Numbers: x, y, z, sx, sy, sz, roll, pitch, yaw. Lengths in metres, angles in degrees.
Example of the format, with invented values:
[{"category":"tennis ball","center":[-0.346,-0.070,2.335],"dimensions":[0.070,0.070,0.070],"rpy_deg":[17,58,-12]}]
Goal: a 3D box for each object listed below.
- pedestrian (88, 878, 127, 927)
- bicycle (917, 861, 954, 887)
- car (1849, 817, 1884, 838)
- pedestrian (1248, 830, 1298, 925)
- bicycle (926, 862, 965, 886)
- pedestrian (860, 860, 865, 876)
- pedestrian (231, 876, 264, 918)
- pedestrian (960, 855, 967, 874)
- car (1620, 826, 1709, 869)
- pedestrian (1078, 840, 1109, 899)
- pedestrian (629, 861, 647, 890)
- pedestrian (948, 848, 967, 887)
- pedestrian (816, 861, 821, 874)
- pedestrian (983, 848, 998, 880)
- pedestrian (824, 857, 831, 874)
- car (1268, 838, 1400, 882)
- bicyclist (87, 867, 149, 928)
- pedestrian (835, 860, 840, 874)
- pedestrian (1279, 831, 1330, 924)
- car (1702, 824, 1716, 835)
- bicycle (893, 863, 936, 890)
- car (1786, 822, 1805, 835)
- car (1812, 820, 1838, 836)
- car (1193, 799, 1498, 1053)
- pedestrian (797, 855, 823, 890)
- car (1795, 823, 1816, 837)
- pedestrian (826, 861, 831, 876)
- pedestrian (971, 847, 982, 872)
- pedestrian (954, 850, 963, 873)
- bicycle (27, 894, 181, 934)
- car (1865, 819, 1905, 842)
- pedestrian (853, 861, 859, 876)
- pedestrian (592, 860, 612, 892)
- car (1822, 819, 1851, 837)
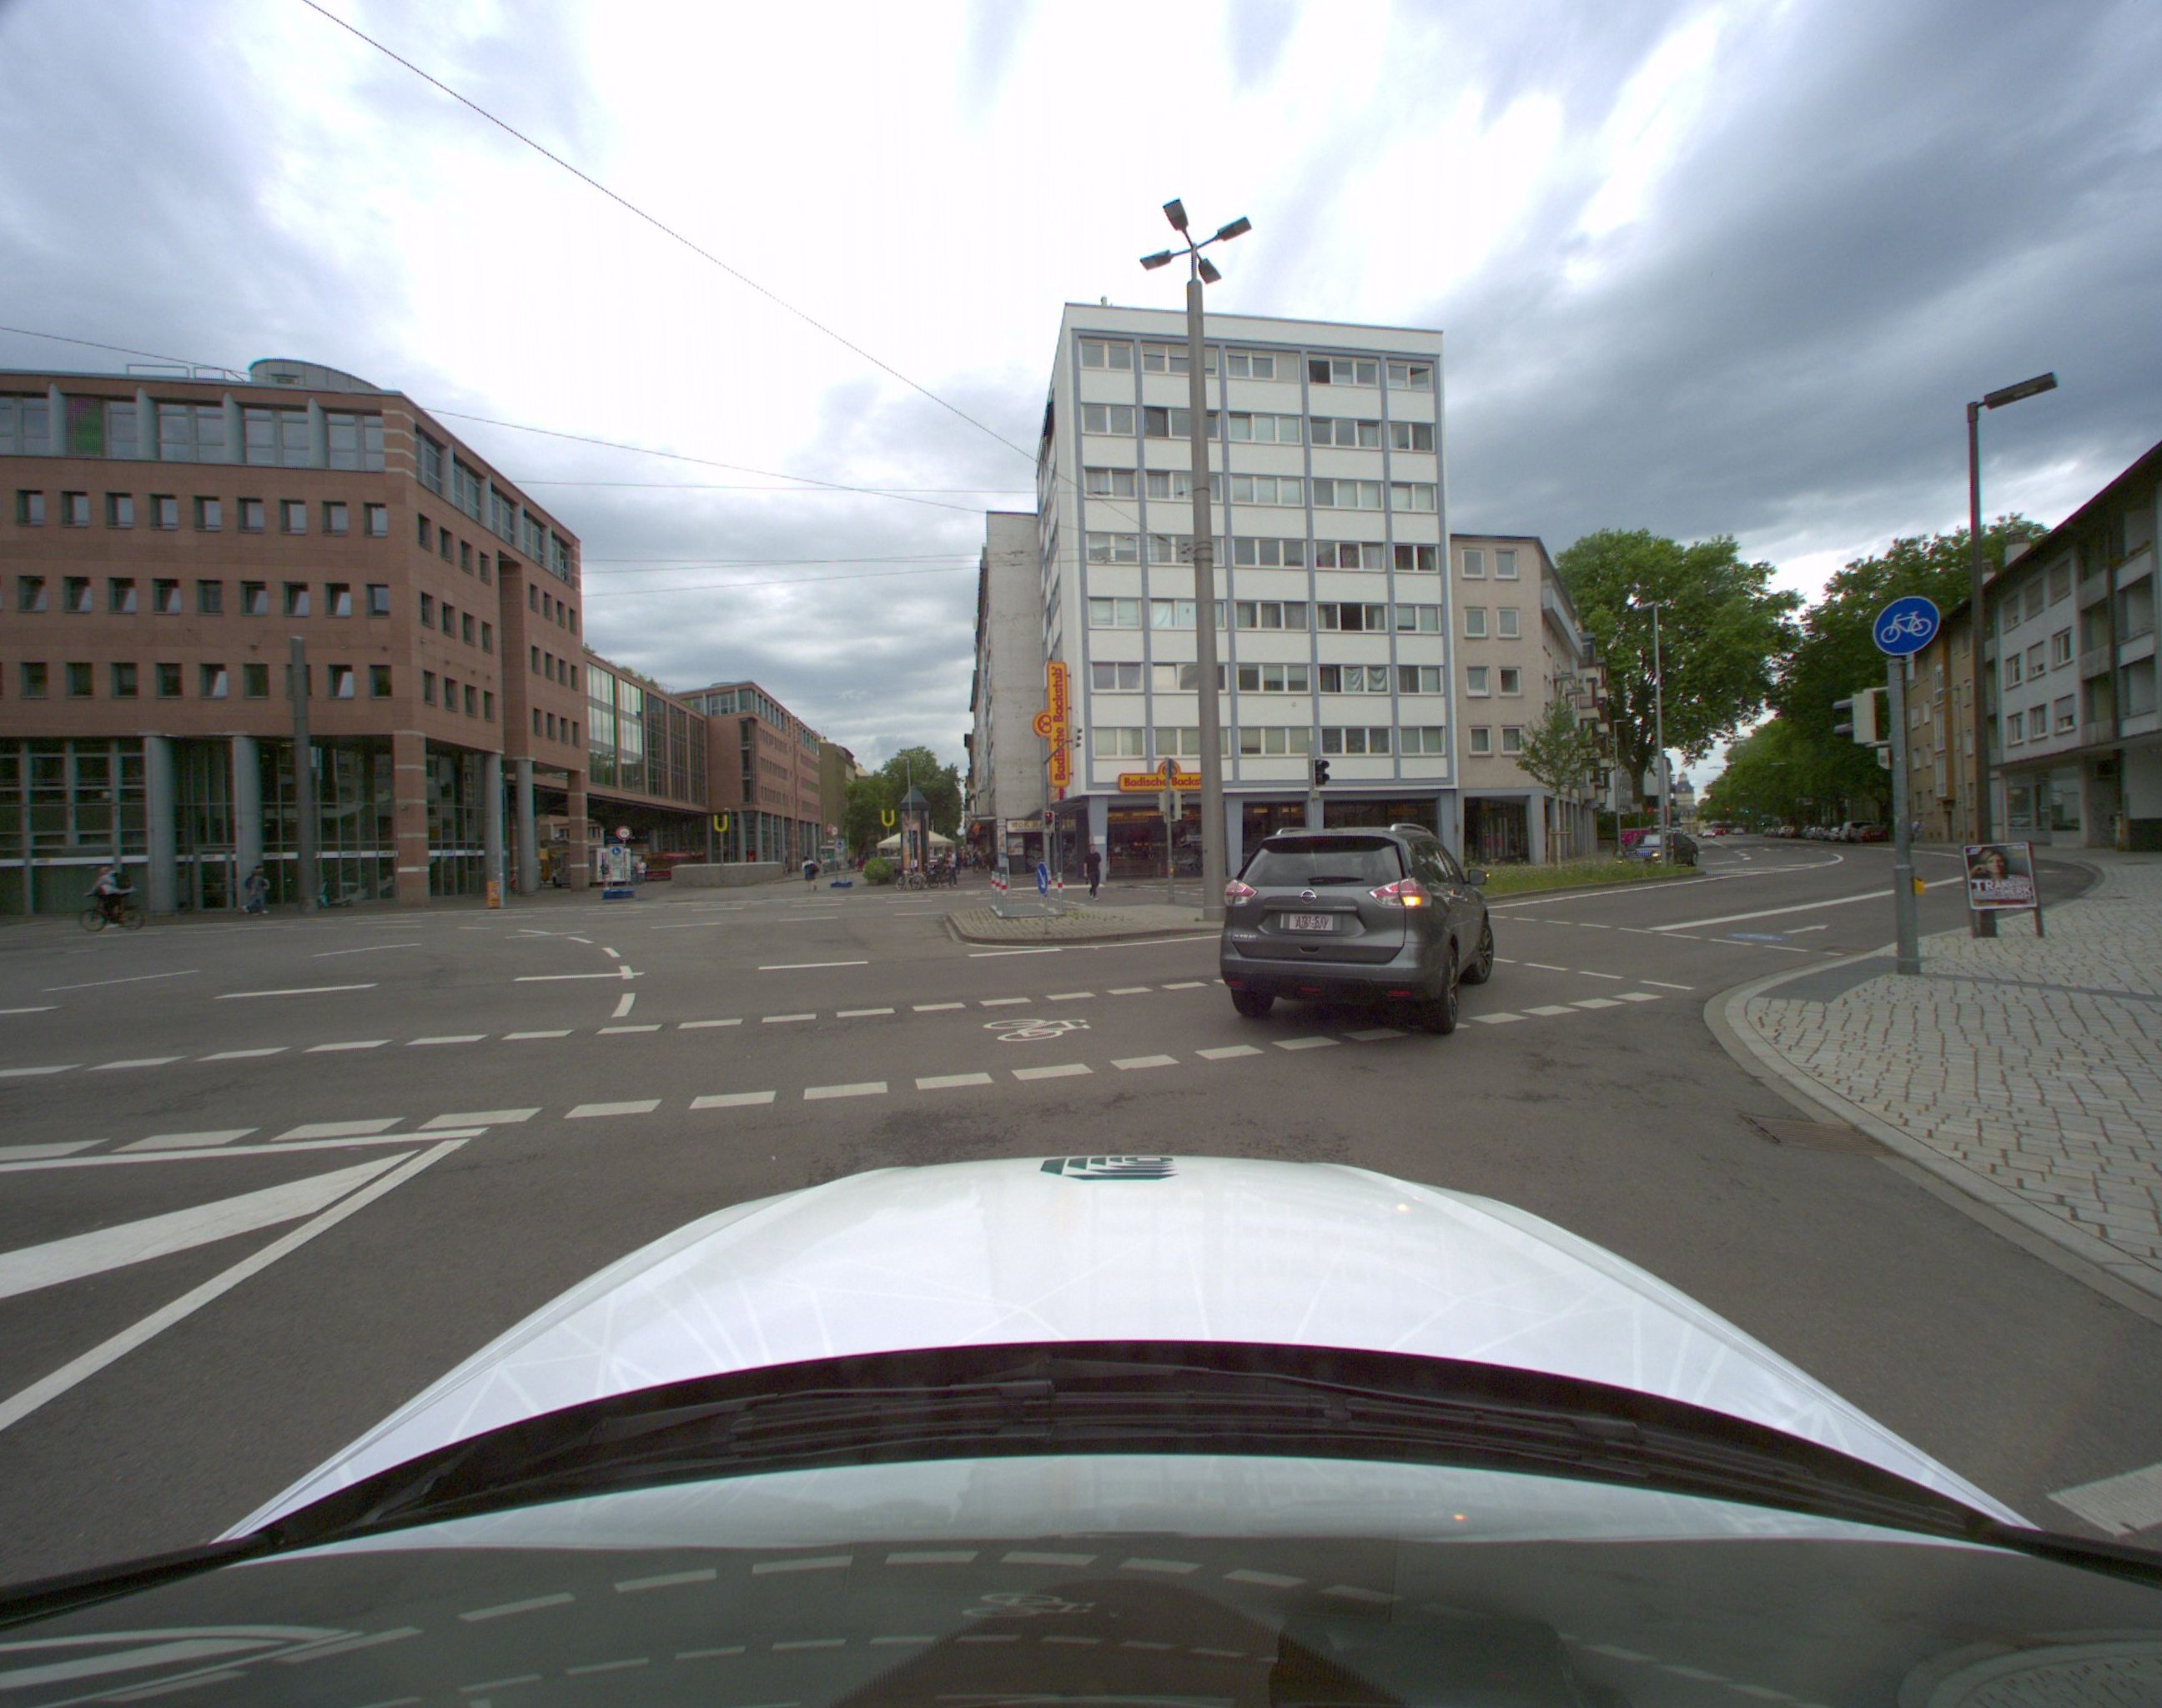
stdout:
[{"category":"pedestrian","center":[-34.621,1.703,28.983],"dimensions":[0.747,1.688,0.568],"rpy_deg":[0,-2,-35]},{"category":"bicycle","center":[-6.870,0.936,38.397],"dimensions":[1.699,1.172,0.435],"rpy_deg":[-1,0,-16]},{"category":"car","center":[68.708,-2.334,71.263],"dimensions":[1.845,1.774,4.009],"rpy_deg":[0,2,38]},{"category":"pedestrian","center":[3.685,0.433,15.668],"dimensions":[0.622,1.761,0.775],"rpy_deg":[-1,0,-16]},{"category":"bicycle","center":[-6.292,0.929,37.834],"dimensions":[1.691,1.065,0.437],"rpy_deg":[-1,0,-3]},{"category":"pedestrian","center":[-25.215,1.612,93.929],"dimensions":[0.601,1.714,0.652],"rpy_deg":[-1,0,-16]},{"category":"pedestrian","center":[-31.542,1.622,30.827],"dimensions":[0.747,1.560,0.568],"rpy_deg":[0,-2,-35]},{"category":"pedestrian","center":[-10.571,0.910,73.166],"dimensions":[0.611,1.705,0.618],"rpy_deg":[-1,0,-8]},{"category":"car","center":[22.985,-0.286,31.991],"dimensions":[4.591,1.481,1.728],"rpy_deg":[-3,0,-40]},{"category":"pedestrian","center":[0.402,0.485,26.054],"dimensions":[0.714,1.832,1.011],"rpy_deg":[-1,0,-16]},{"category":"pedestrian","center":[-28.063,1.355,51.594],"dimensions":[0.696,1.842,0.737],"rpy_deg":[-1,0,11]},{"category":"pedestrian","center":[-5.686,0.609,37.470],"dimensions":[0.734,1.745,0.659],"rpy_deg":[-1,0,-17]},{"category":"pedestrian","center":[-34.849,1.751,108.050],"dimensions":[0.601,1.714,0.652],"rpy_deg":[-1,0,-16]},{"category":"pedestrian","center":[-4.923,0.530,44.290],"dimensions":[0.707,1.705,0.735],"rpy_deg":[-1,0,4]},{"category":"pedestrian","center":[-23.797,1.054,76.352],"dimensions":[0.601,1.536,0.652],"rpy_deg":[-1,0,-16]},{"category":"car","center":[9.765,0.221,31.521],"dimensions":[4.554,1.481,1.742],"rpy_deg":[-3,0,-11]},{"category":"bicyclist","center":[-29.858,1.337,25.261],"dimensions":[0.874,1.812,0.835],"rpy_deg":[-1,0,-8]},{"category":"pedestrian","center":[-31.579,1.692,105.604],"dimensions":[0.601,1.714,0.652],"rpy_deg":[-1,0,-16]},{"category":"pedestrian","center":[4.344,0.438,15.844],"dimensions":[0.622,1.761,0.775],"rpy_deg":[-1,0,-16]},{"category":"car","center":[111.610,-4.359,144.683],"dimensions":[1.845,1.774,4.009],"rpy_deg":[0,2,38]},{"category":"bicycle","center":[-7.687,1.016,37.528],"dimensions":[1.875,1.172,0.527],"rpy_deg":[-1,0,-23]},{"category":"car","center":[104.731,-3.732,119.346],"dimensions":[1.845,1.774,4.009],"rpy_deg":[0,2,38]},{"category":"car","center":[84.321,-2.989,92.343],"dimensions":[1.845,1.774,4.009],"rpy_deg":[0,2,38]},{"category":"car","center":[2.922,0.494,8.141],"dimensions":[1.845,1.775,4.596],"rpy_deg":[-1,0,32]},{"category":"pedestrian","center":[-13.129,0.894,39.510],"dimensions":[0.920,1.705,0.737],"rpy_deg":[-1,0,11]},{"category":"car","center":[94.929,-3.171,106.687],"dimensions":[1.845,1.774,4.009],"rpy_deg":[0,2,38]},{"category":"pedestrian","center":[-29.664,1.673,95.680],"dimensions":[0.601,1.714,0.652],"rpy_deg":[-1,0,-16]},{"category":"pedestrian","center":[-7.668,0.417,59.914],"dimensions":[0.738,1.821,0.660],"rpy_deg":[-2,0,-11]},{"category":"pedestrian","center":[-9.061,0.544,60.150],"dimensions":[0.642,1.705,0.557],"rpy_deg":[-1,0,-8]},{"category":"bicycle","center":[-30.195,1.841,25.217],"dimensions":[3.264,1.045,0.902],"rpy_deg":[-2,0,-8]},{"category":"car","center":[64.528,-1.897,65.398],"dimensions":[1.845,1.774,4.009],"rpy_deg":[0,2,38]},{"category":"pedestrian","center":[-25.895,1.622,93.702],"dimensions":[0.601,1.714,0.652],"rpy_deg":[-1,0,-16]},{"category":"pedestrian","center":[-28.036,1.253,47.639],"dimensions":[0.697,1.842,0.735],"rpy_deg":[-1,0,4]},{"category":"car","center":[76.688,-2.675,82.733],"dimensions":[1.845,1.774,4.009],"rpy_deg":[0,2,38]}]
